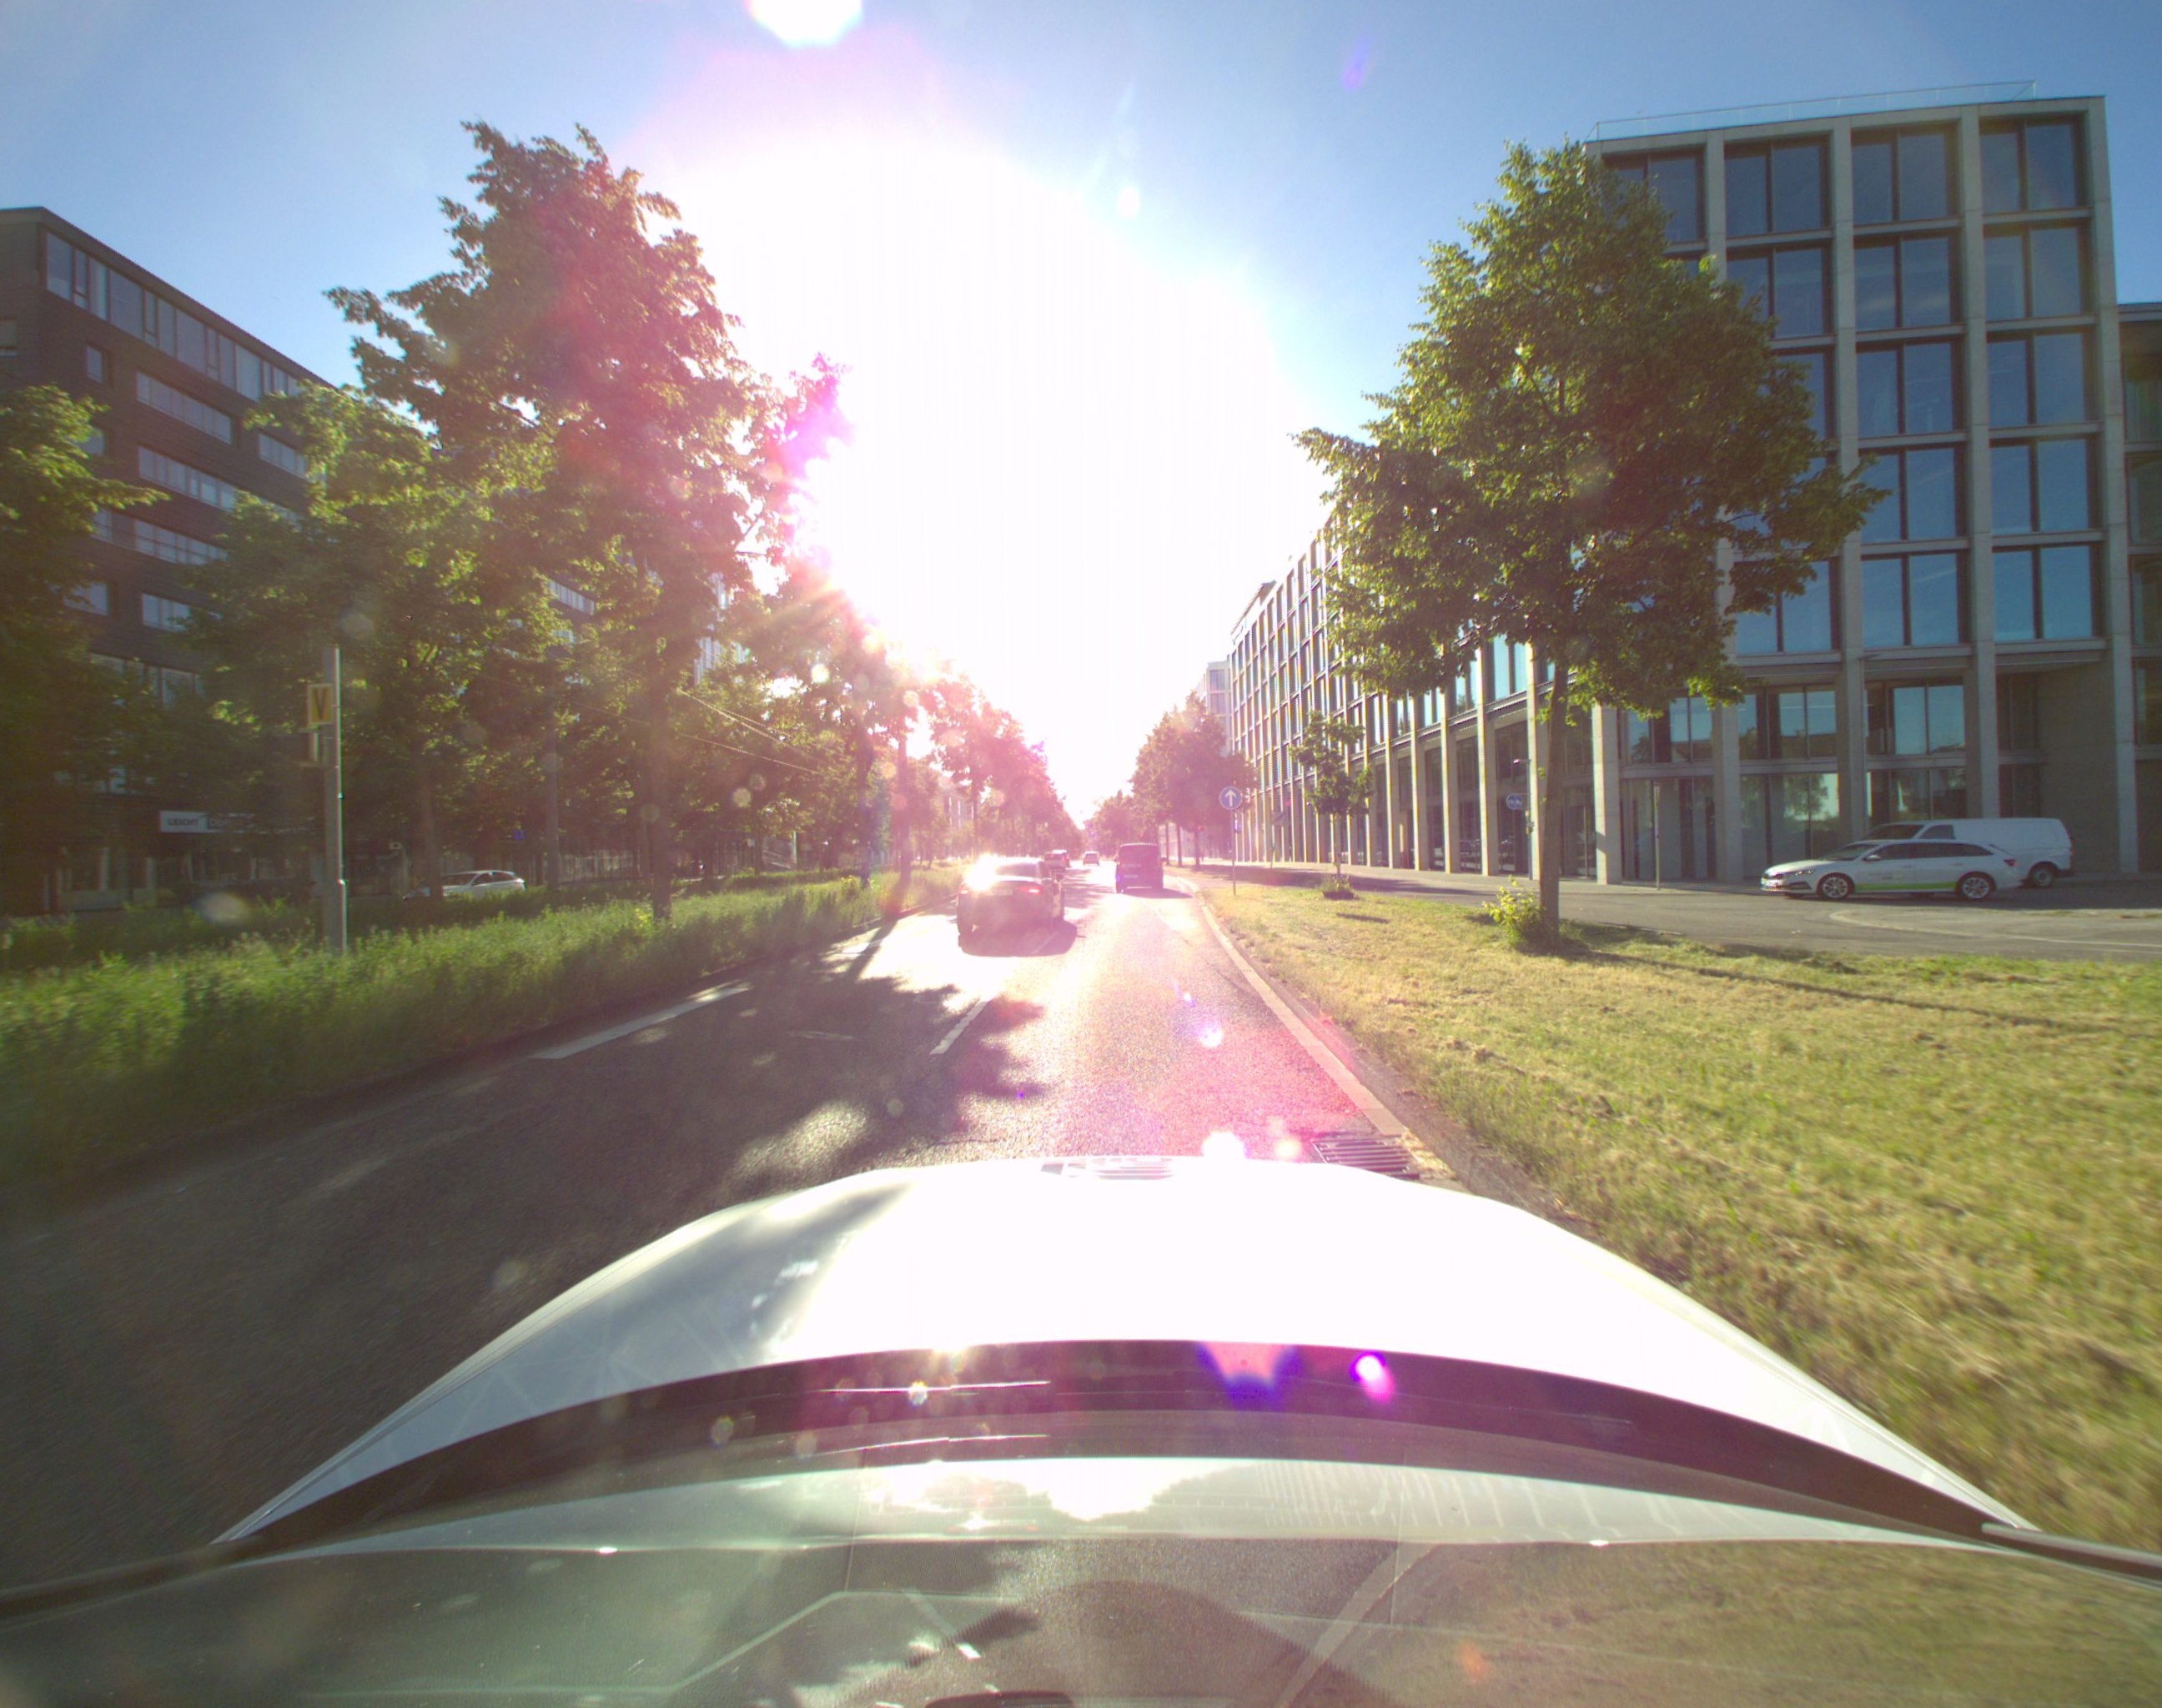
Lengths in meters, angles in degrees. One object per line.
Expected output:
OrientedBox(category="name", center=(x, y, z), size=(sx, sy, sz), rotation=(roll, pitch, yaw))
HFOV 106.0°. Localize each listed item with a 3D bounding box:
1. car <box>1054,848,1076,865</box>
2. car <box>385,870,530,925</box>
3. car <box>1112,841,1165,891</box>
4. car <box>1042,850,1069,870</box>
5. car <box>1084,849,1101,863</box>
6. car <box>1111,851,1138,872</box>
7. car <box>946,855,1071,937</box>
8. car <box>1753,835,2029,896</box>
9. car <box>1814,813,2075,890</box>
OrientedBox(category="car", center=(-1.496, 0.284, 77.056), size=(1.836, 1.534, 3.941), rotation=(-1, -1, 2))
OrientedBox(category="car", center=(-22.209, 1.494, 29.259), size=(1.791, 1.688, 4.321), rotation=(0, 1, 0))
OrientedBox(category="car", center=(2.150, 0.395, 31.228), size=(1.791, 1.777, 4.001), rotation=(0, 1, 1))
OrientedBox(category="car", center=(-1.916, 0.424, 61.617), size=(1.937, 1.441, 3.998), rotation=(-1, 0, -1))
OrientedBox(category="car", center=(1.178, 0.179, 84.552), size=(1.715, 1.425, 3.816), rotation=(-1, 0, 0))
OrientedBox(category="car", center=(3.188, 0.541, 60.313), size=(1.716, 1.425, 3.815), rotation=(0, 1, -1))
OrientedBox(category="car", center=(-1.290, 0.737, 16.193), size=(1.712, 1.366, 4.152), rotation=(-1, 0, 5))
OrientedBox(category="car", center=(19.460, 0.272, 19.811), size=(4.480, 1.393, 1.780), rotation=(0, -2, 14))
OrientedBox(category="car", center=(24.224, -0.055, 23.020), size=(5.042, 1.981, 1.941), rotation=(-1, 0, 5))
